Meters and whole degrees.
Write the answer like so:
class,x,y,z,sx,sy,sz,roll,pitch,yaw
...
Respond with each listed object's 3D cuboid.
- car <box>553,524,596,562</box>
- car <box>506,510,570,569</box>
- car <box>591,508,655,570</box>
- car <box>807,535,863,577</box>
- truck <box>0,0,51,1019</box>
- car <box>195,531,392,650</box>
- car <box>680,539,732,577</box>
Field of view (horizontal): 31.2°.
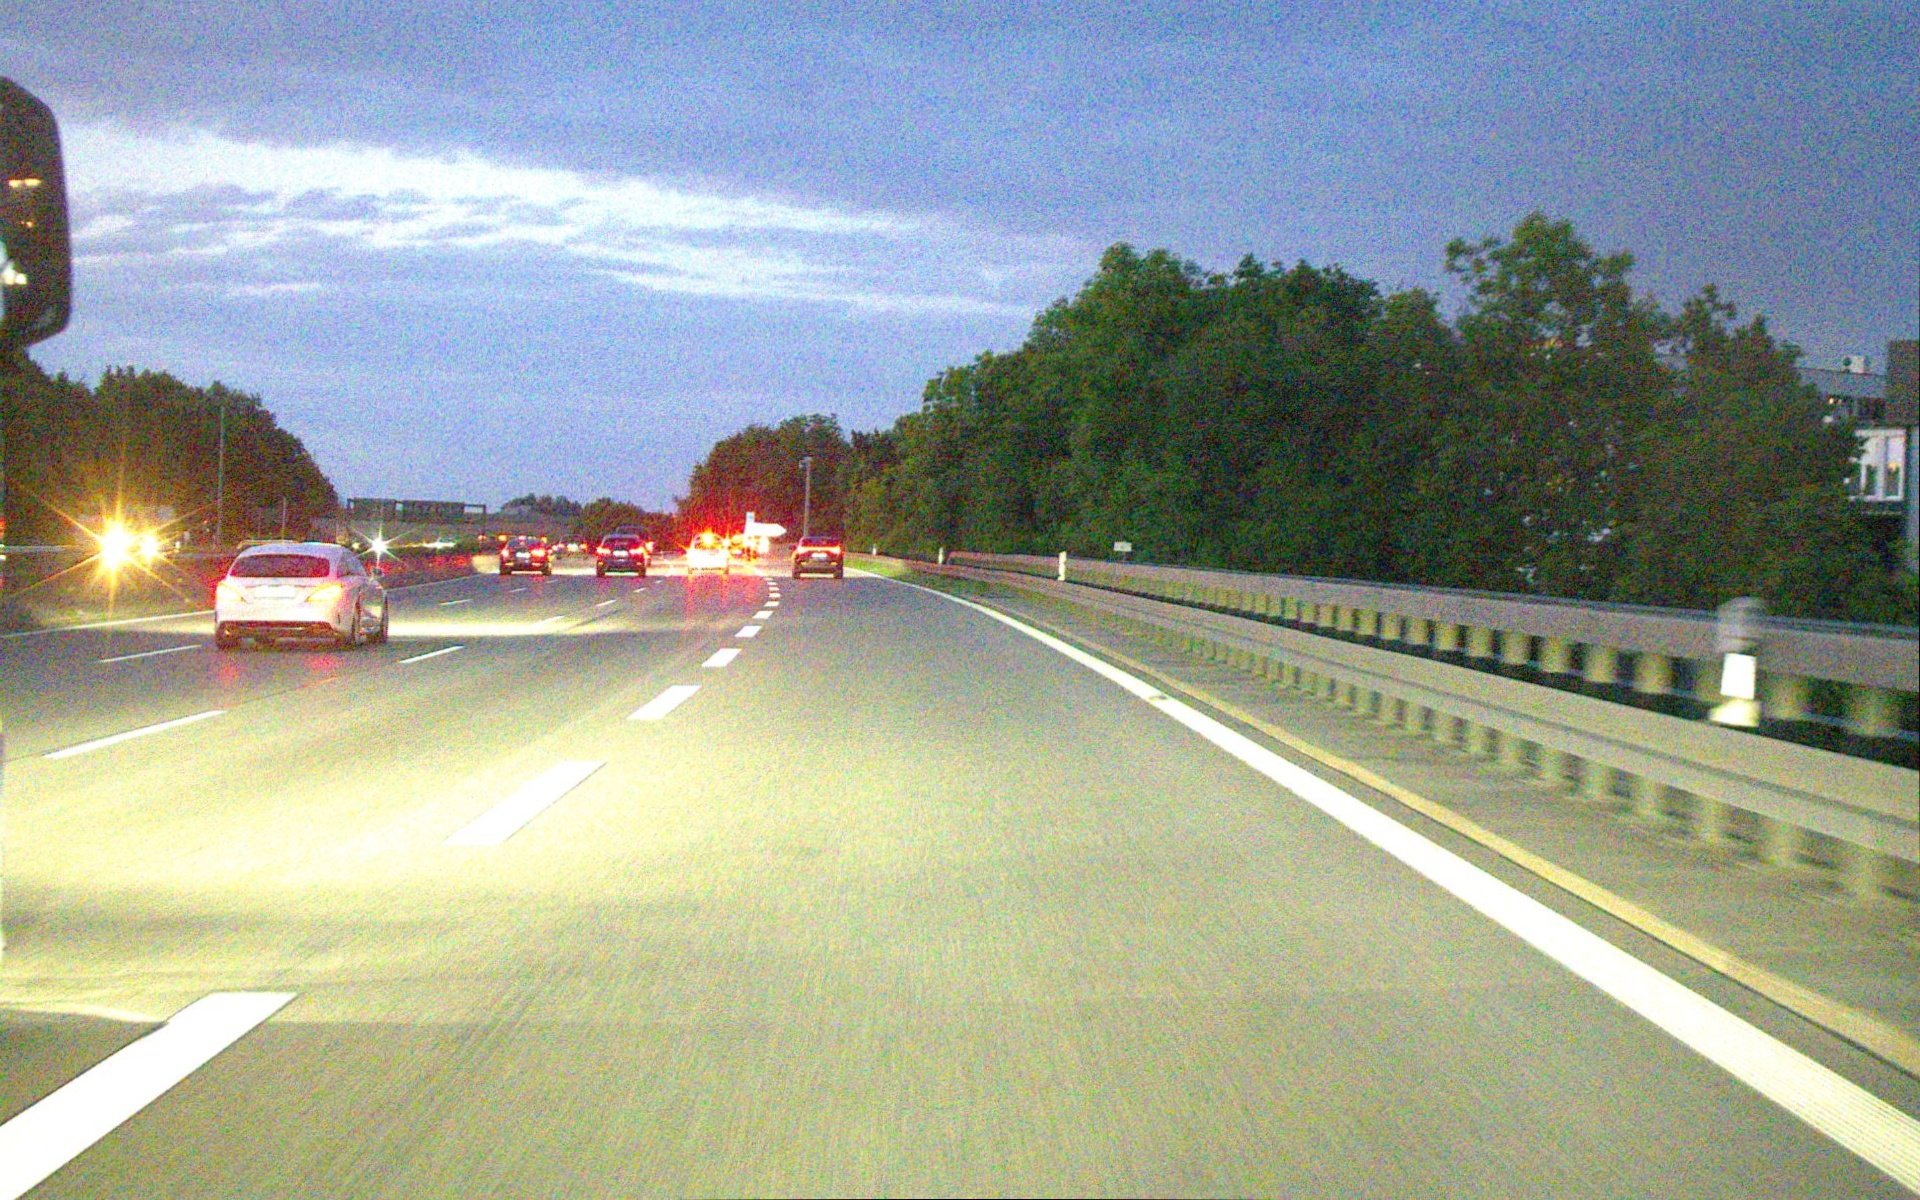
class,x,y,z,sx,sy,sz,roll,pitch,yaw
car,-22.909,-3.390,204.387,1.993,2.007,4.000,2,-2,0
car,-16.326,-2.318,133.104,1.993,2.040,4.000,2,-2,-1
car,-12.631,-2.281,129.018,1.993,2.073,4.000,2,-2,-1
car,-4.723,-1.657,129.989,1.993,1.349,4.000,2,-2,-1
truck,-4.509,-0.785,7.430,3.550,4.077,6.152,0,1,-1
car,-9.041,-0.140,46.951,1.899,1.489,4.151,2,0,-1
car,-10.465,-1.733,141.730,1.884,1.349,4.000,2,-2,-1
